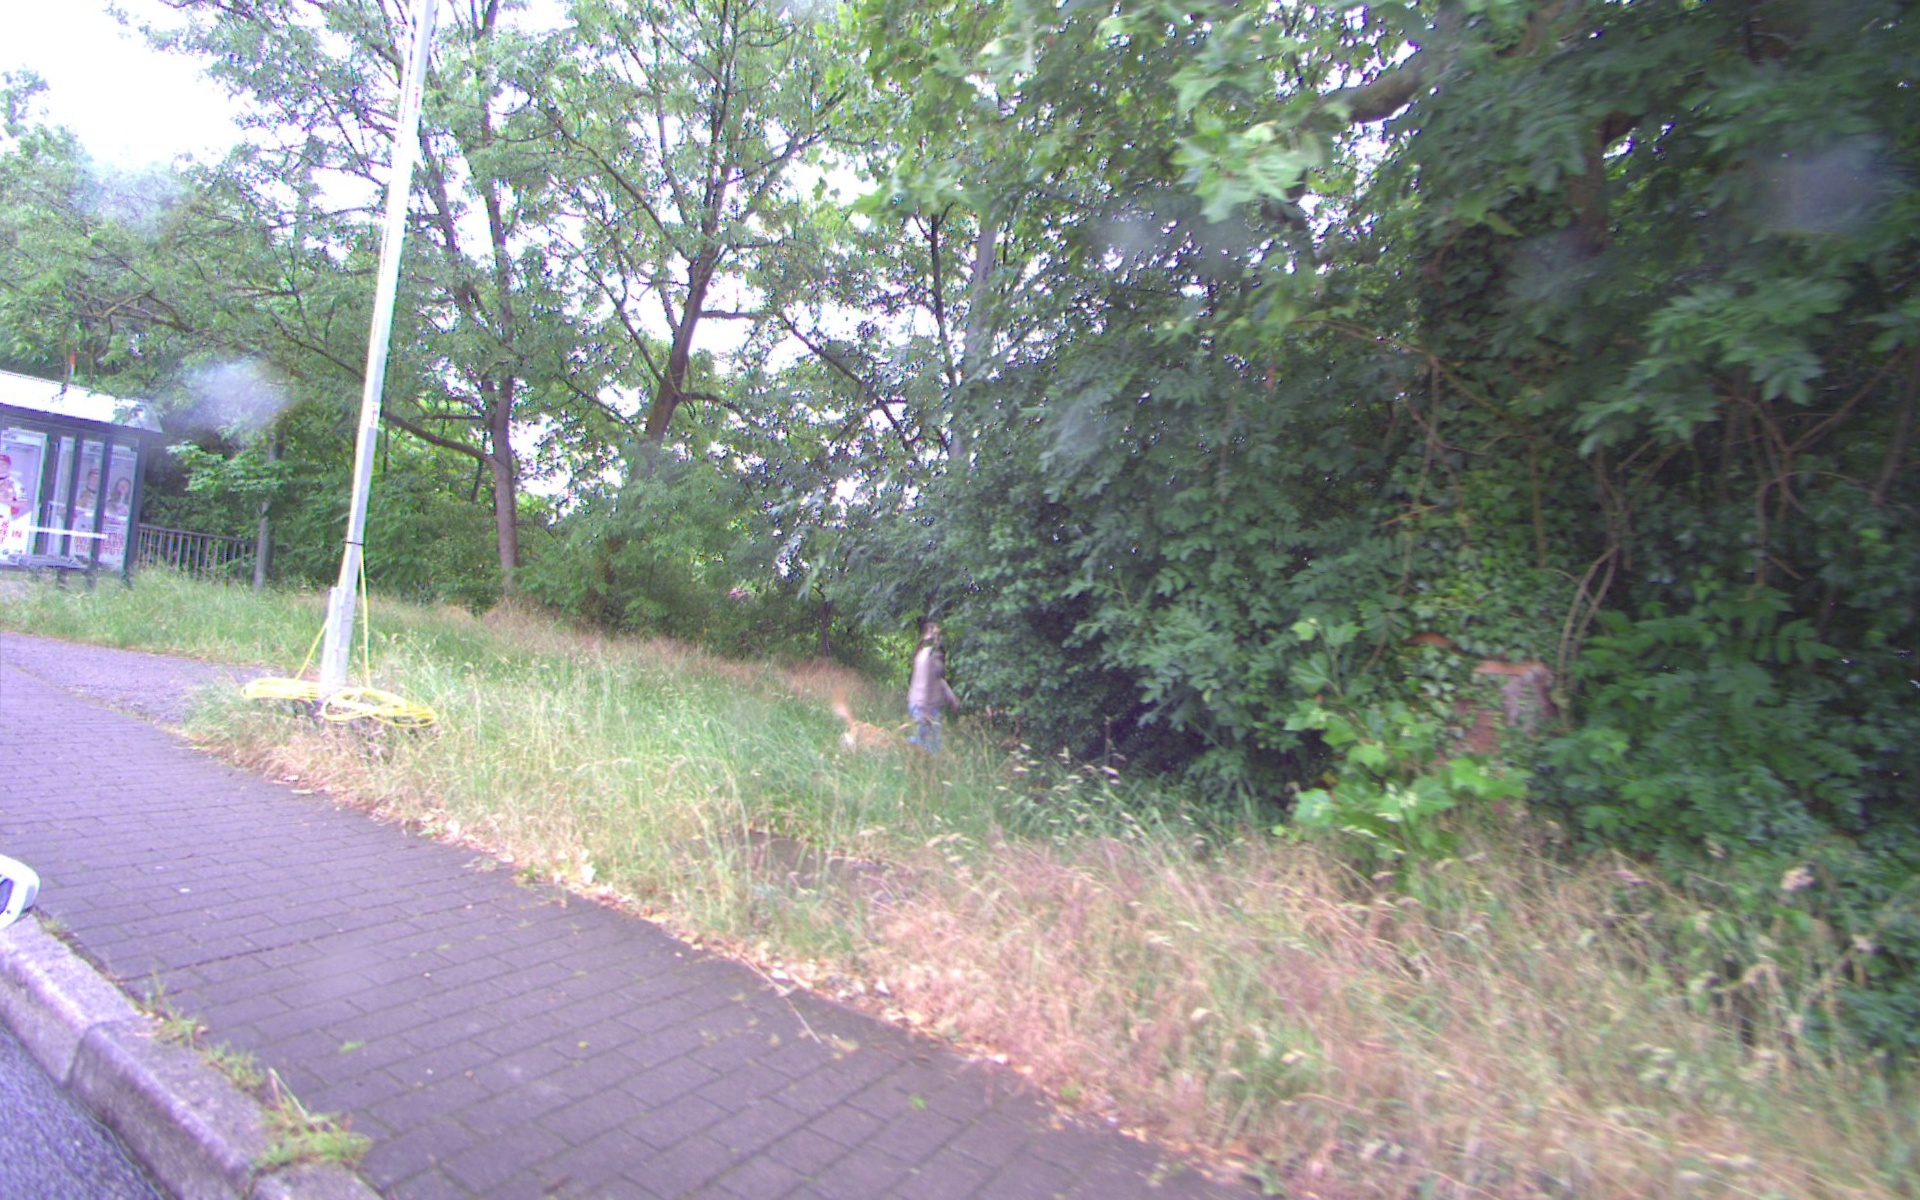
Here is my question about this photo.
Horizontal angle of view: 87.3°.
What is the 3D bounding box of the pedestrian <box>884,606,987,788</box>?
[{"bbox_3d":[-0.257,0.923,9.770,0.739,1.622,0.732,7,-1,-8],"label":"pedestrian"}]
